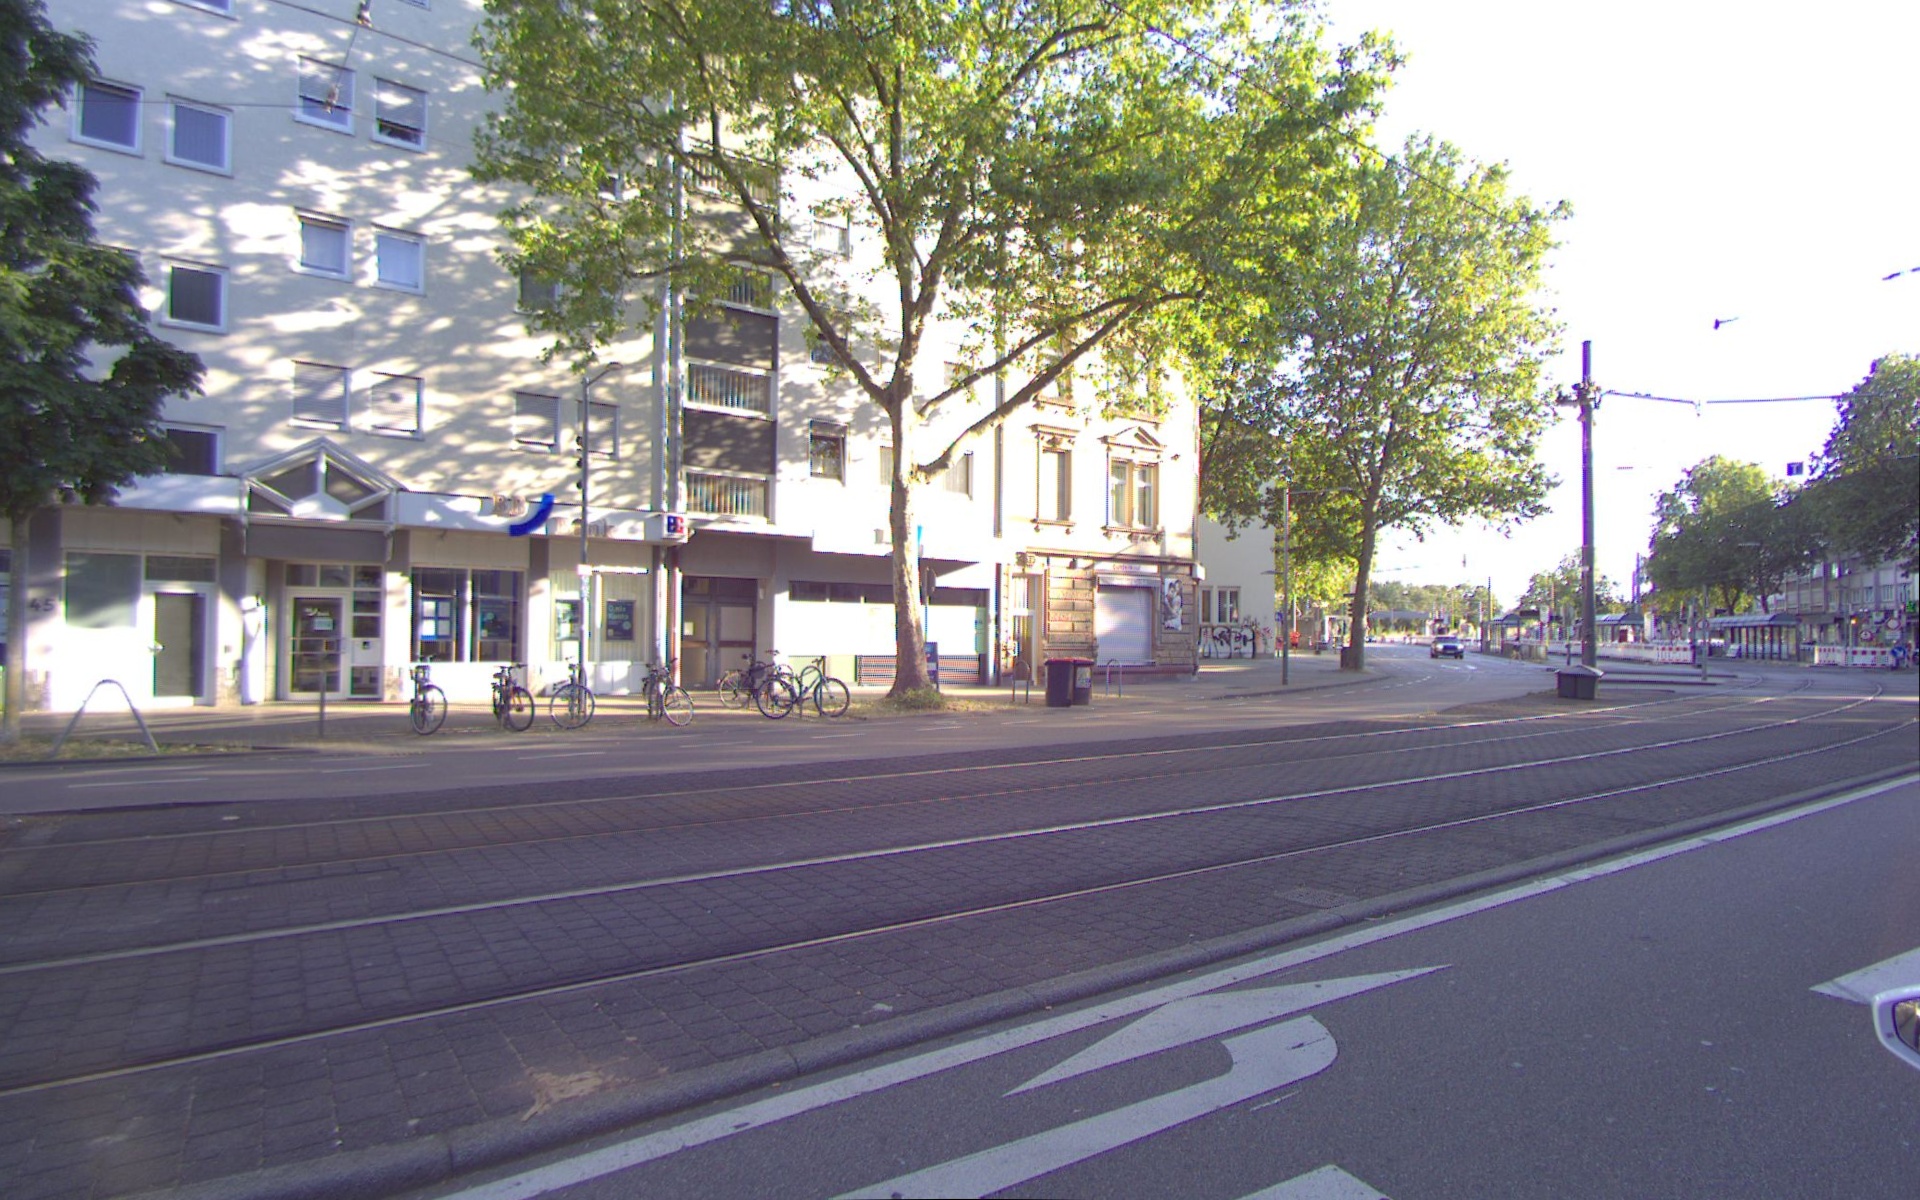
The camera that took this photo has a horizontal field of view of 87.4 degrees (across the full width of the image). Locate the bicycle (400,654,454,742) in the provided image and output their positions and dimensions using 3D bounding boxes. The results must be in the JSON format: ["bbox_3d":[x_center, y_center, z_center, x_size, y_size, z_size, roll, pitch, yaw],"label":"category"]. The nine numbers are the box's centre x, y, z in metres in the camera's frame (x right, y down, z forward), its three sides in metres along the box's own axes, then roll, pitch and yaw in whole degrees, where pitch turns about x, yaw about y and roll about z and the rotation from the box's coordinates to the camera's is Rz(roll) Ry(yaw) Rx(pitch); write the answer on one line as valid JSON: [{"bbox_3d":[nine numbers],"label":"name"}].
[{"bbox_3d":[-7.838,1.398,14.742,0.506,1.153,1.729,2,-1,-34],"label":"bicycle"}]

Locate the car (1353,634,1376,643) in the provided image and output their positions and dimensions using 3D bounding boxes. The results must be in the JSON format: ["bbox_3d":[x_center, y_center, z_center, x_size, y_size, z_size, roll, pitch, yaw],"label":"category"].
[{"bbox_3d":[78.232,7.386,194.276,3.919,1.661,1.792,0,-2,13],"label":"car"}]

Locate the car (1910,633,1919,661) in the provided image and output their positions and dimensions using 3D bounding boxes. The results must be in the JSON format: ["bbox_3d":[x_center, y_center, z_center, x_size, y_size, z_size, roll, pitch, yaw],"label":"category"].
[{"bbox_3d":[64.473,3.126,65.674,1.960,1.815,4.000,2,-1,20],"label":"car"}]

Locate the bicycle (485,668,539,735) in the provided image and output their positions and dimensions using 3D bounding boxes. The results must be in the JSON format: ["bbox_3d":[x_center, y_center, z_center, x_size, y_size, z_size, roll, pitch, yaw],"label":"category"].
[{"bbox_3d":[-6.955,1.545,15.559,0.467,0.900,1.729,2,-1,-34],"label":"bicycle"}]

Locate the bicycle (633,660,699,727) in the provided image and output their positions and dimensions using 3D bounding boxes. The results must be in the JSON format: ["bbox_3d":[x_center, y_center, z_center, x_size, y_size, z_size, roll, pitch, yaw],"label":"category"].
[{"bbox_3d":[-5.050,1.567,17.174,0.584,1.002,1.729,2,-1,-34],"label":"bicycle"}]

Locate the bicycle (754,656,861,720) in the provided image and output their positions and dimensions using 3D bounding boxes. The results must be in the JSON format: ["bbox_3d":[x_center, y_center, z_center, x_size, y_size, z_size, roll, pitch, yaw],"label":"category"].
[{"bbox_3d":[-2.736,1.570,18.112,1.800,1.091,0.649,2,-2,-29],"label":"bicycle"}]

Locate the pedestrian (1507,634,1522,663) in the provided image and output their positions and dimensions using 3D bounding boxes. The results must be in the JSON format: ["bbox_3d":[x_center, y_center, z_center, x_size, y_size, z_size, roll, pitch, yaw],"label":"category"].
[{"bbox_3d":[31.875,2.781,57.763,0.645,1.678,0.444,0,-2,18],"label":"pedestrian"}]

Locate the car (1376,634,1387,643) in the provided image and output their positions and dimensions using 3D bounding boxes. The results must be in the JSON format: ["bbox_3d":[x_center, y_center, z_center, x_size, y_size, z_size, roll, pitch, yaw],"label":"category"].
[{"bbox_3d":[79.446,7.206,189.321,1.814,1.706,3.716,0,-2,23],"label":"car"}]

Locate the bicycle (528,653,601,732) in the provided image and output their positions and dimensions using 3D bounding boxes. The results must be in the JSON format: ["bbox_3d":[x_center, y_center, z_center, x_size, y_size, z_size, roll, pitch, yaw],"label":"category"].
[{"bbox_3d":[-6.352,1.447,16.075,0.724,1.128,1.729,2,-1,-34],"label":"bicycle"}]

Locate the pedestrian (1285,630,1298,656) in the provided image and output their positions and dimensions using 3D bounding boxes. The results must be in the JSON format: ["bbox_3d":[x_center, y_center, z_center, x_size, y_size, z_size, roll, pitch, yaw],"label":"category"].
[{"bbox_3d":[20.057,2.590,60.737,0.599,1.533,0.493,0,-1,-6],"label":"pedestrian"}]

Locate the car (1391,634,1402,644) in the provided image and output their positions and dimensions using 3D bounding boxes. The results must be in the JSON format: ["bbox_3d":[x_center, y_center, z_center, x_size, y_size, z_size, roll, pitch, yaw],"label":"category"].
[{"bbox_3d":[78.766,7.042,181.338,1.814,1.706,3.715,-2,-2,23],"label":"car"}]

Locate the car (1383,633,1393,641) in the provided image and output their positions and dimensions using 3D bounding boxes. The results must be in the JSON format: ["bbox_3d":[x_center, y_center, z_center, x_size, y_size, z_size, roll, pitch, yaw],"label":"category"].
[{"bbox_3d":[89.563,7.755,210.271,1.814,1.706,3.716,0,-2,23],"label":"car"}]

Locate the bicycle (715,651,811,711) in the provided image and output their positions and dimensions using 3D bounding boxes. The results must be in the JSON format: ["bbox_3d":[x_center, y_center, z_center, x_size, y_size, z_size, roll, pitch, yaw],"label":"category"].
[{"bbox_3d":[-3.911,1.593,20.012,1.777,1.132,0.617,2,-2,-29],"label":"bicycle"}]

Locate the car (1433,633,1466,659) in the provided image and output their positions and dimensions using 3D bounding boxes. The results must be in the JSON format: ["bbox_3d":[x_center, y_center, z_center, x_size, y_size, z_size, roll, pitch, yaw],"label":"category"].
[{"bbox_3d":[32.972,3.105,67.697,1.962,1.661,3.997,0,-2,25],"label":"car"}]
